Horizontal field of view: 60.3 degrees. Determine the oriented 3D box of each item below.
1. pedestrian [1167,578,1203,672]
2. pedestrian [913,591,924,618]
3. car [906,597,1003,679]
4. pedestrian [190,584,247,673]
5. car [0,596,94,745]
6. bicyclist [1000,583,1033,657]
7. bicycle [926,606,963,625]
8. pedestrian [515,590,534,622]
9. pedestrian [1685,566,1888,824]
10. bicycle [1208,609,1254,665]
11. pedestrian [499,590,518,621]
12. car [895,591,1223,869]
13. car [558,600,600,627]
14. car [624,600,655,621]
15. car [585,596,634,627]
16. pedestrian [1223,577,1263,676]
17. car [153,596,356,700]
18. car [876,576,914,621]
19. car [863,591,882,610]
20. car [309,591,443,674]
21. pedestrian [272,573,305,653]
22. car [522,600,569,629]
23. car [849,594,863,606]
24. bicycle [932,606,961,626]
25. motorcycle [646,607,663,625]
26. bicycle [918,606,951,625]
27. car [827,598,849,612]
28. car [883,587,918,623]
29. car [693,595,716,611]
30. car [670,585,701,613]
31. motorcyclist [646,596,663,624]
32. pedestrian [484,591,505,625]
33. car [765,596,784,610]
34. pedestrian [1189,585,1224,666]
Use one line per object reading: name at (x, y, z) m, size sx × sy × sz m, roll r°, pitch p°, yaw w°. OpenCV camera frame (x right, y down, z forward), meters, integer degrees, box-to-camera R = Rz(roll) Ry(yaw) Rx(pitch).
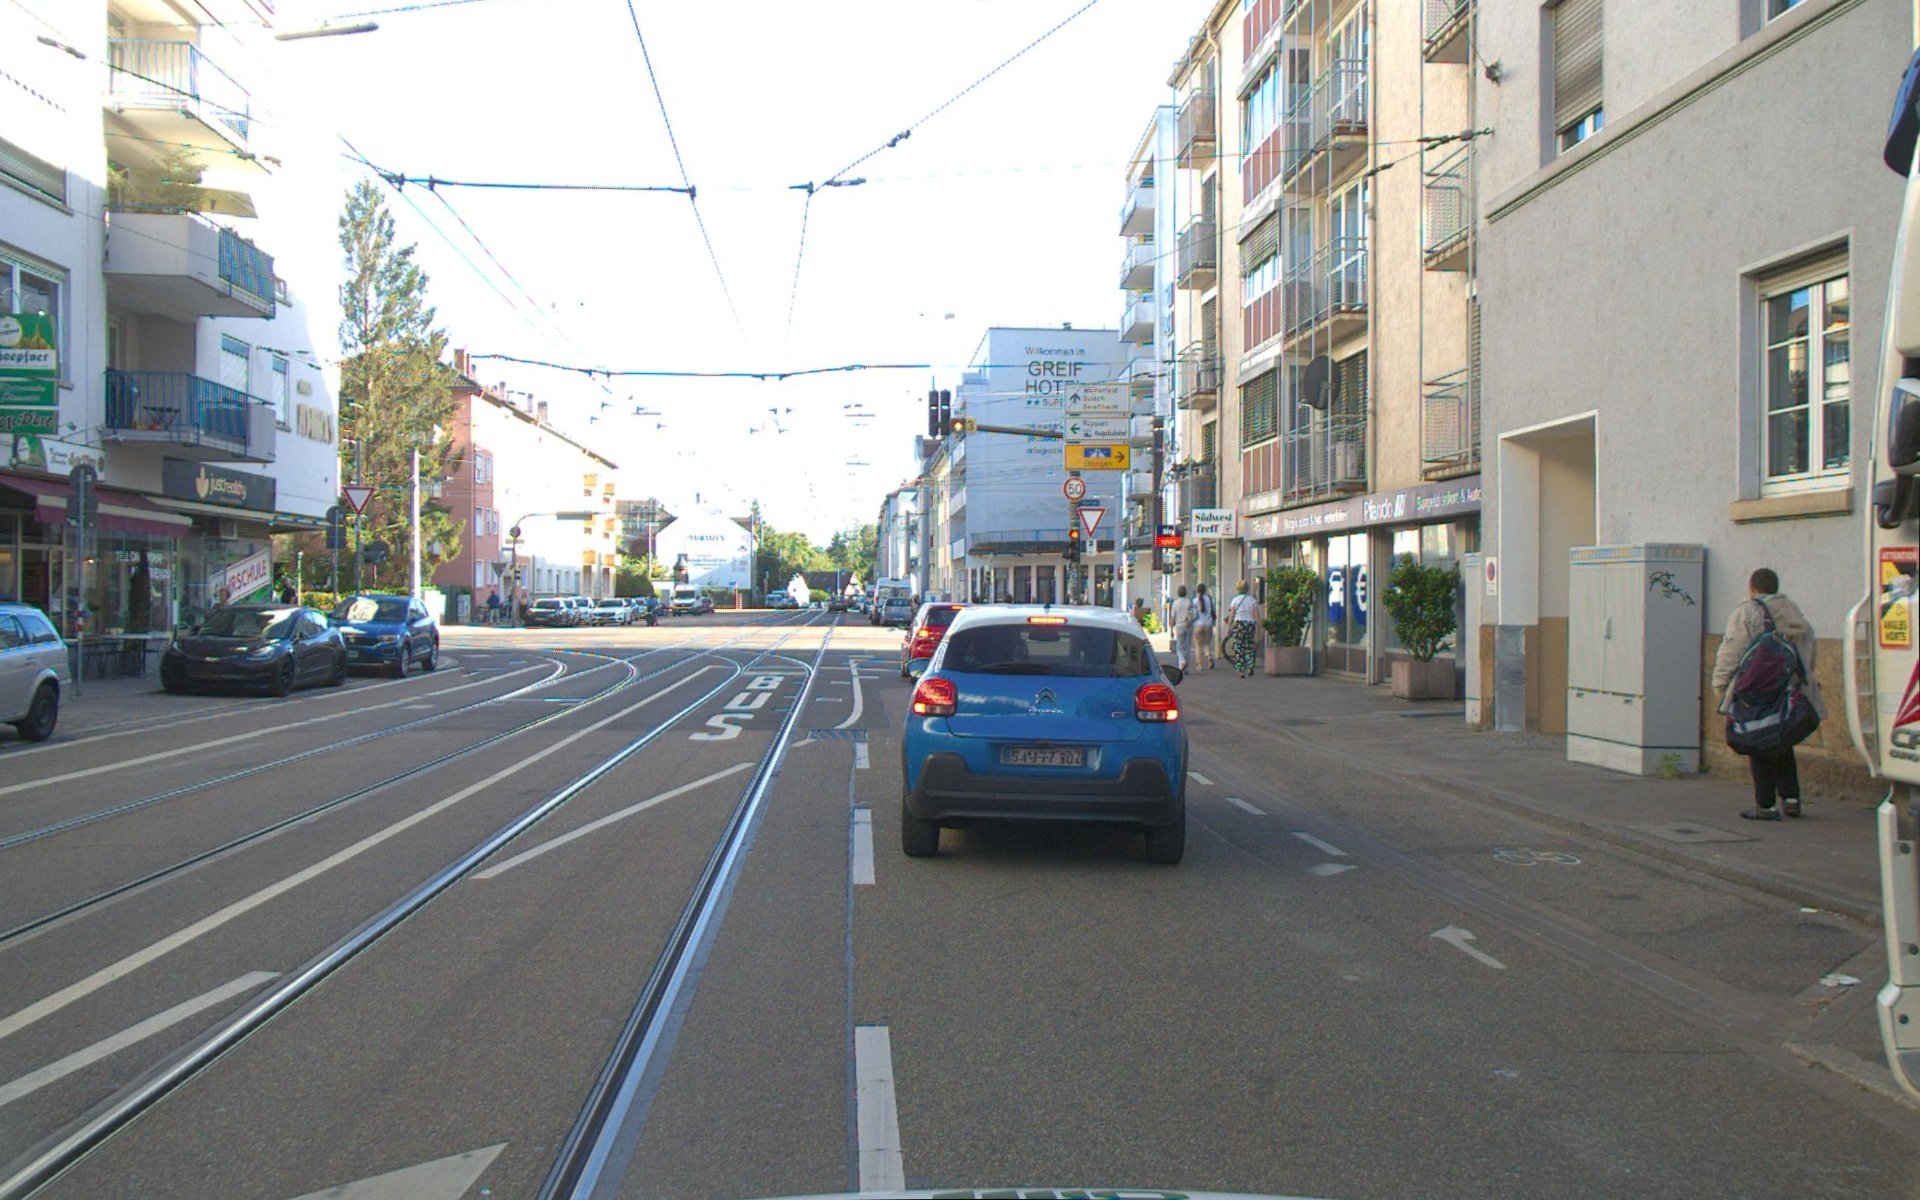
pedestrian at (4.199, 0.458, 30.868) m, size 0.530 × 1.701 × 0.624 m, roll -2°, pitch 2°, yaw -3°
pedestrian at (-2.669, 0.285, 106.429) m, size 0.694 × 1.739 × 0.748 m, roll 0°, pitch 0°, yaw -1°
car at (-0.132, 0.671, 31.236) m, size 1.703 × 1.445 × 3.999 m, roll 0°, pitch 0°, yaw -1°
pedestrian at (-13.273, 0.498, 29.617) m, size 0.683 × 1.575 × 0.721 m, roll 0°, pitch 0°, yaw -1°
car at (-10.740, 0.706, 16.933) m, size 1.666 × 1.536 × 4.382 m, roll 2°, pitch -1°, yaw -4°
bicyclist at (1.287, 0.451, 37.935) m, size 0.711 × 1.674 × 0.790 m, roll 0°, pitch 0°, yaw -1°
bicycle at (-0.787, 0.806, 84.748) m, size 1.835 × 0.973 × 0.702 m, roll 0°, pitch 0°, yaw 1°
pedestrian at (-23.618, 0.314, 89.760) m, size 0.826 × 1.720 × 0.737 m, roll 0°, pitch 0°, yaw 2°
pedestrian at (5.276, 0.580, 10.610) m, size 0.808 × 1.561 × 0.869 m, roll -2°, pitch 0°, yaw -3°
bicycle at (5.520, 0.742, 33.717) m, size 0.519 × 1.091 × 1.809 m, roll 0°, pitch 0°, yaw -4°
pedestrian at (-24.477, 0.297, 89.638) m, size 0.826 × 1.720 × 0.737 m, roll 0°, pitch 0°, yaw 2°
car at (0.469, 0.713, 11.034) m, size 1.709 × 1.488 × 3.997 m, roll 1°, pitch 0°, yaw -3°
car at (-22.210, 0.744, 96.546) m, size 1.873 × 1.523 × 3.996 m, roll 0°, pitch 0°, yaw -5°
car at (-23.894, 0.743, 123.416) m, size 1.873 × 1.523 × 3.996 m, roll 0°, pitch 0°, yaw -5°
car at (-19.218, 0.610, 90.858) m, size 1.812 × 1.601 × 4.400 m, roll 0°, pitch 0°, yaw -1°
pedestrian at (4.960, 0.458, 29.003) m, size 0.530 × 1.701 × 0.650 m, roll -2°, pitch 0°, yaw -3°
car at (-11.481, 0.751, 27.252) m, size 1.665 × 1.536 × 4.308 m, roll 2°, pitch -1°, yaw -3°
car at (-3.571, -0.071, 90.101) m, size 1.954 × 2.366 × 3.997 m, roll 1°, pitch 0°, yaw -4°
car at (-7.924, 0.058, 149.239) m, size 1.655 × 1.646 × 3.997 m, roll 1°, pitch 0°, yaw -3°
car at (-11.664, 0.632, 33.258) m, size 1.712 × 1.536 × 3.993 m, roll 2°, pitch -1°, yaw -8°
pedestrian at (-17.390, 0.328, 42.814) m, size 0.673 × 2.049 × 0.485 m, roll 0°, pitch 0°, yaw -7°
car at (-21.574, 0.761, 86.205) m, size 1.874 × 1.458 × 3.995 m, roll 0°, pitch 0°, yaw -6°
car at (-16.034, 0.036, 255.822) m, size 1.953 × 1.825 × 3.999 m, roll 0°, pitch 0°, yaw -1°
bicycle at (-0.682, 0.804, 83.690) m, size 1.473 × 0.973 × 0.702 m, roll 0°, pitch 0°, yaw 1°
motorcycle at (-15.654, 0.810, 84.748) m, size 0.603 × 0.879 × 1.670 m, roll 0°, pitch 0°, yaw -1°
bicycle at (-1.321, 0.806, 86.099) m, size 1.684 × 0.973 × 0.702 m, roll 0°, pitch 0°, yaw 1°
car at (-11.007, 0.451, 149.308) m, size 1.722 × 1.281 × 3.826 m, roll 0°, pitch 0°, yaw -8°
car at (-3.080, 0.266, 85.191) m, size 1.698 × 1.780 × 3.211 m, roll 1°, pitch 0°, yaw -4°
car at (-24.982, 0.249, 161.882) m, size 1.982 × 1.552 × 3.996 m, roll 0°, pitch 0°, yaw -5°
car at (-22.672, -0.112, 136.612) m, size 2.164 × 2.290 × 4.672 m, roll 0°, pitch 0°, yaw -5°
motorcyclist at (-15.641, 0.517, 84.594) m, size 0.704 × 1.402 × 0.911 m, roll 0°, pitch 0°, yaw -1°
pedestrian at (-23.545, 0.396, 83.738) m, size 0.826 × 1.720 × 0.737 m, roll 0°, pitch 0°, yaw 2°
car at (-20.947, 0.339, 186.797) m, size 1.982 × 1.552 × 3.996 m, roll 0°, pitch 0°, yaw -5°
pedestrian at (4.822, 0.494, 32.371) m, size 0.530 × 1.534 × 0.611 m, roll -2°, pitch 2°, yaw -3°
